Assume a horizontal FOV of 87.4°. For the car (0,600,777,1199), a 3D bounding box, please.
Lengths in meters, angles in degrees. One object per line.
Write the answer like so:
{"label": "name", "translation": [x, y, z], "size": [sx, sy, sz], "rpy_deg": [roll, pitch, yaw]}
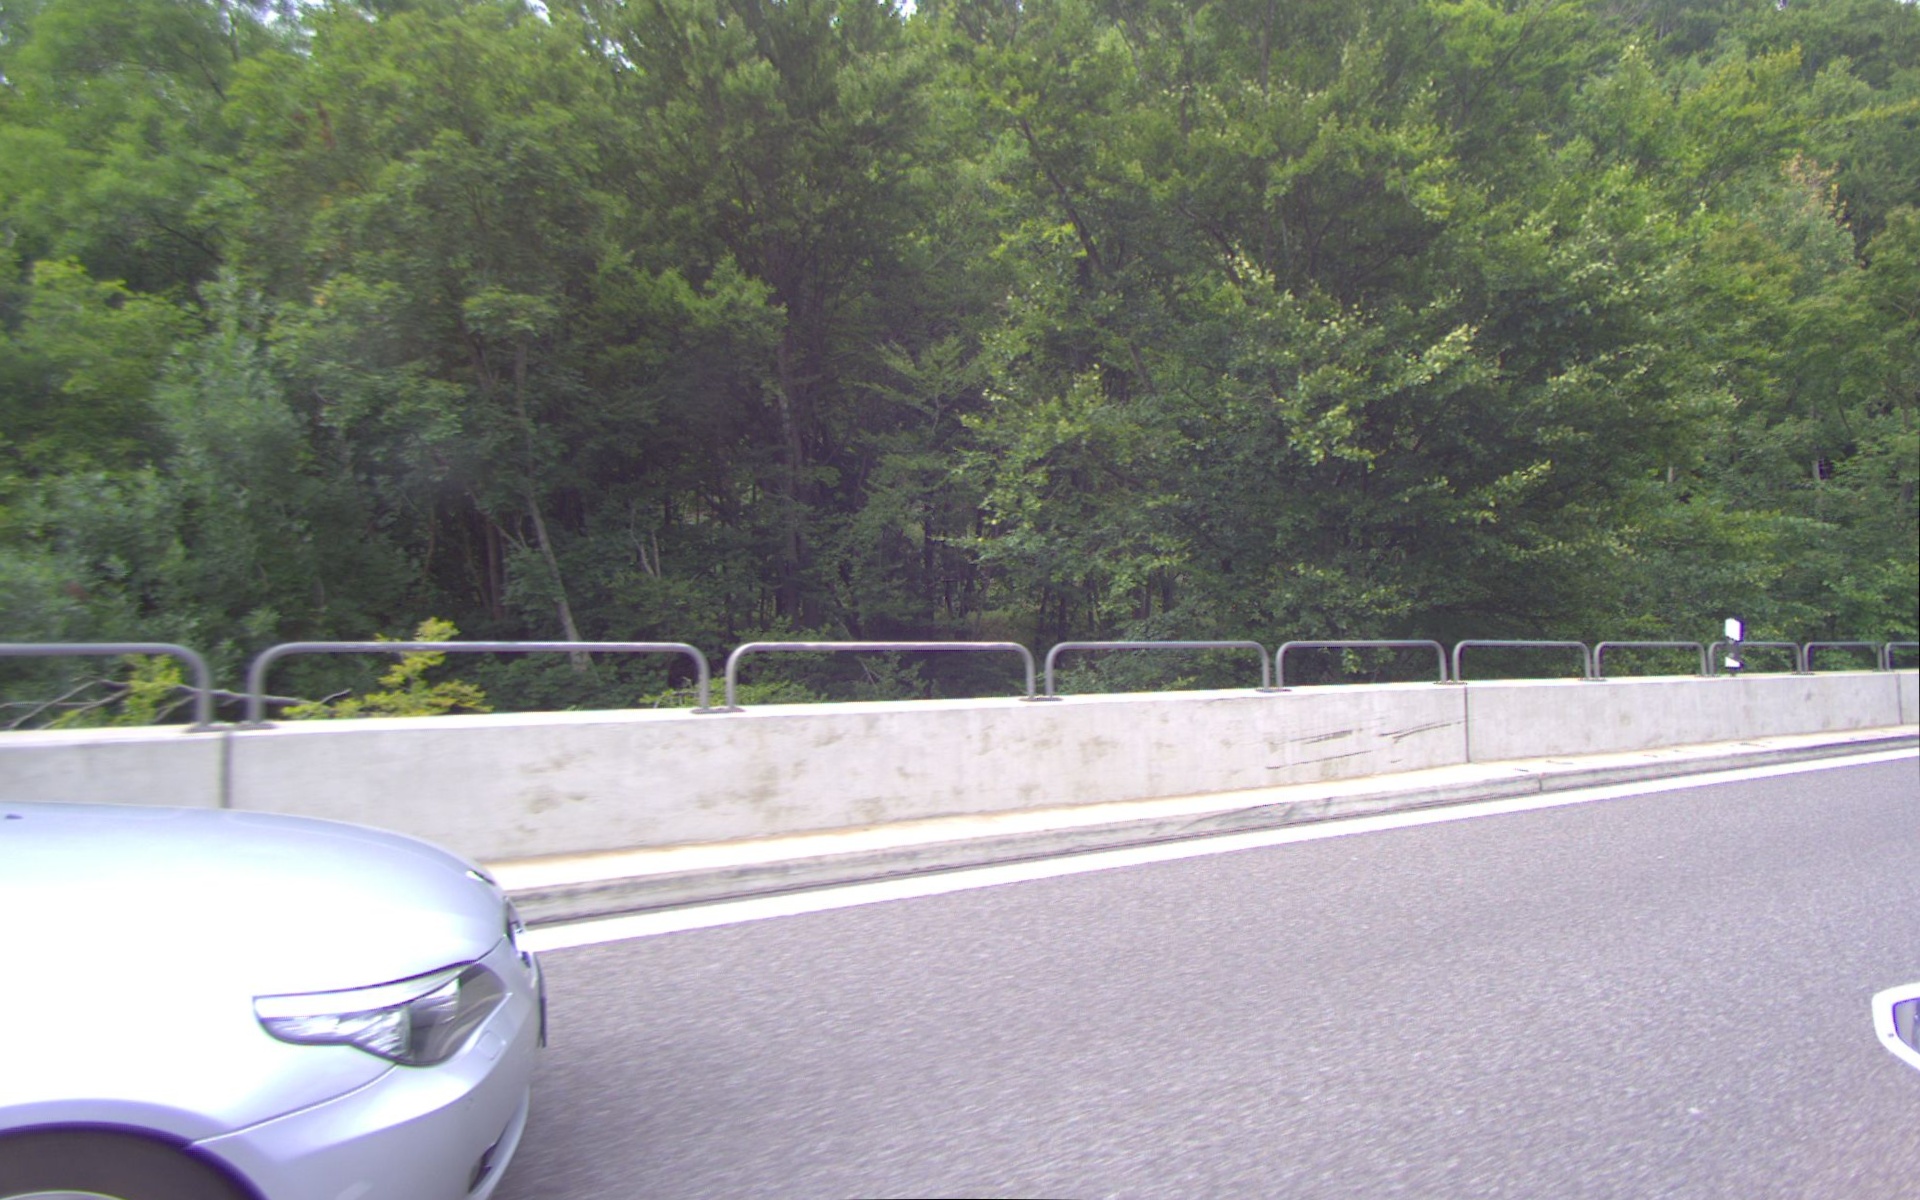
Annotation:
{"label": "car", "translation": [-3.024, 0.717, 1.582], "size": [5.076, 1.476, 1.819], "rpy_deg": [2, -1, -31]}
